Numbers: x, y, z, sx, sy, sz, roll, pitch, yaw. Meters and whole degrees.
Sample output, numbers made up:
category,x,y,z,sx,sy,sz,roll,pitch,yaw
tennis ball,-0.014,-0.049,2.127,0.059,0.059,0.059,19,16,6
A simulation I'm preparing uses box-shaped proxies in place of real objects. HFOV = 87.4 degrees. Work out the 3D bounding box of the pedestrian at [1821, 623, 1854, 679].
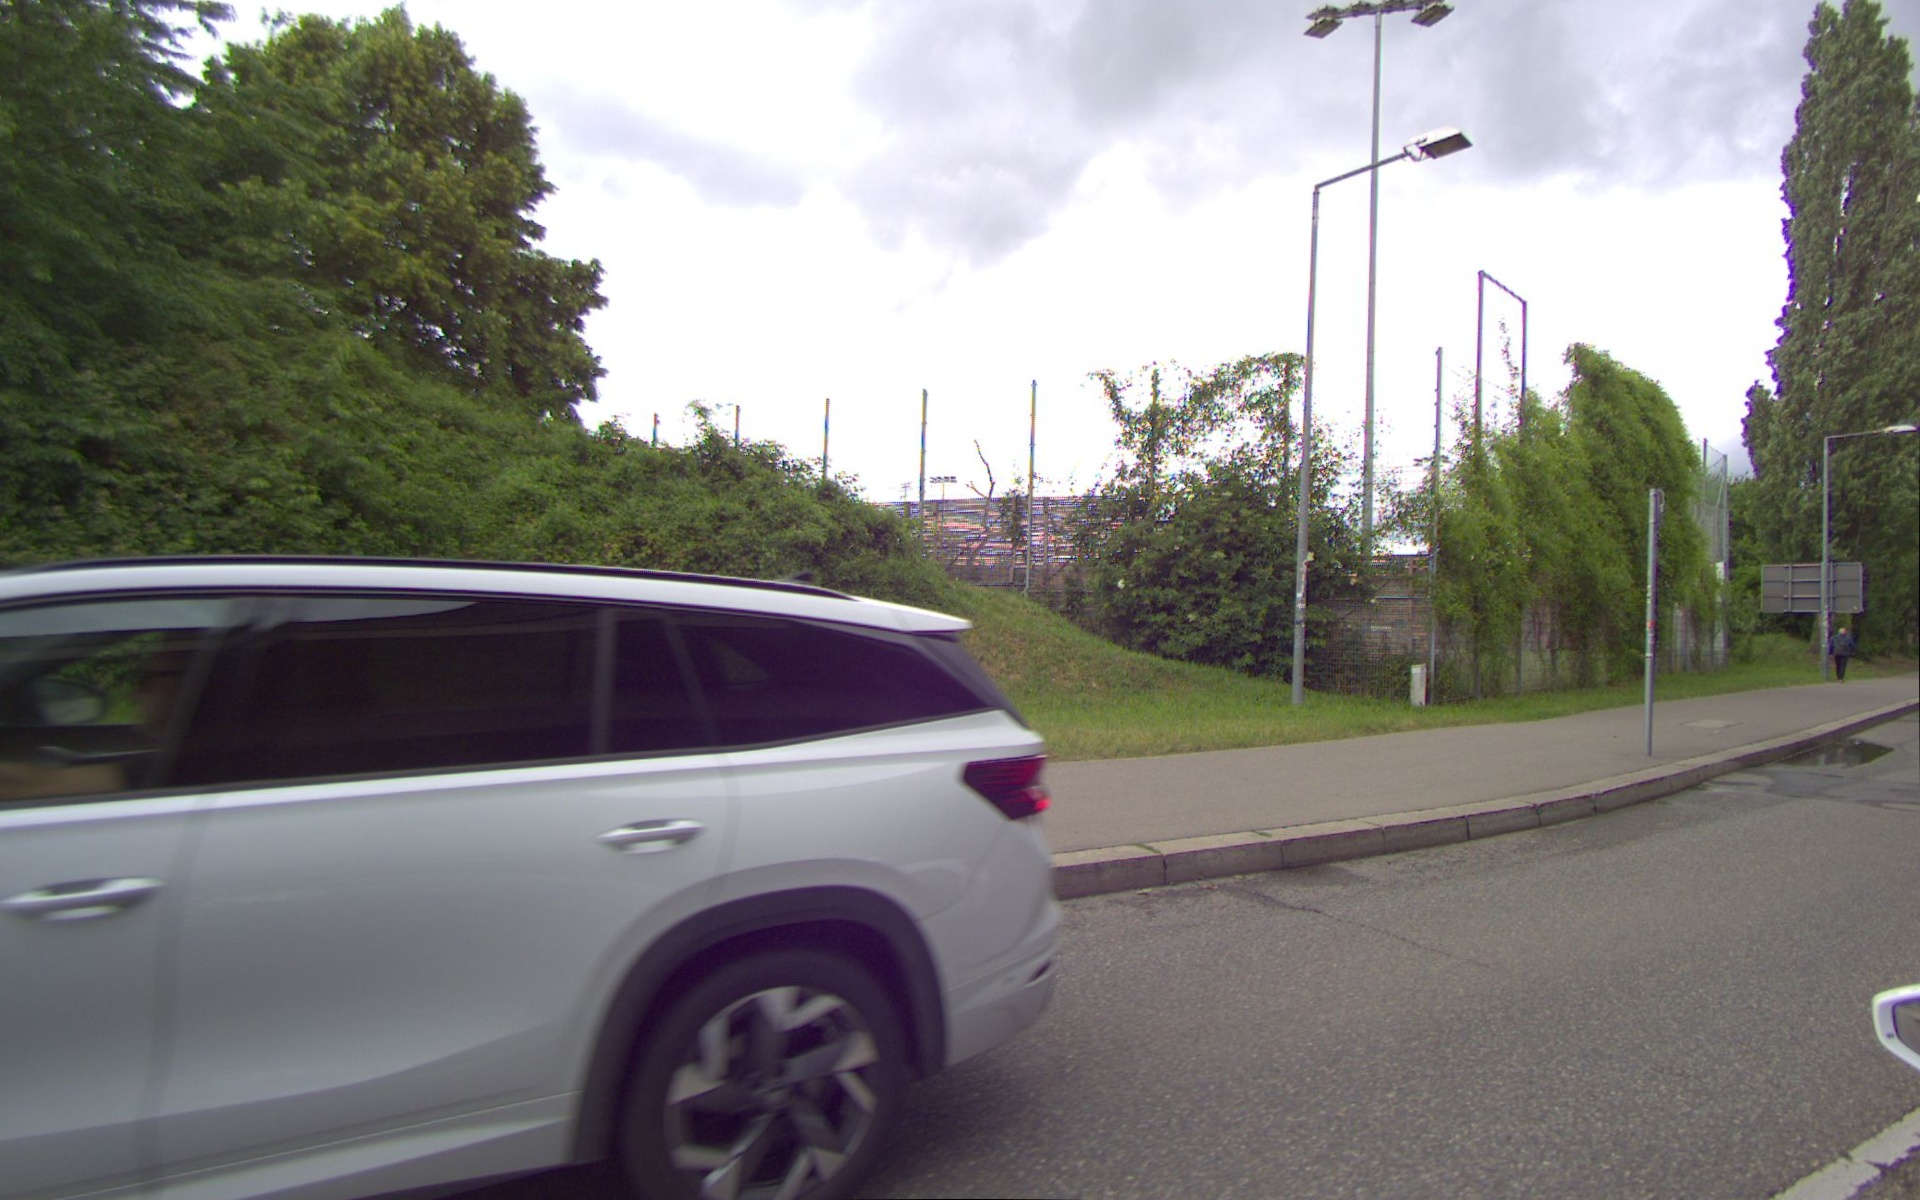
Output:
category,x,y,z,sx,sy,sz,roll,pitch,yaw
pedestrian,28.976,1.671,33.173,0.795,1.804,0.915,0,0,44

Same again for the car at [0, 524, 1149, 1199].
category,x,y,z,sx,sy,sz,roll,pitch,yaw
car,-1.794,0.728,2.776,4.348,1.706,1.858,0,0,-27
